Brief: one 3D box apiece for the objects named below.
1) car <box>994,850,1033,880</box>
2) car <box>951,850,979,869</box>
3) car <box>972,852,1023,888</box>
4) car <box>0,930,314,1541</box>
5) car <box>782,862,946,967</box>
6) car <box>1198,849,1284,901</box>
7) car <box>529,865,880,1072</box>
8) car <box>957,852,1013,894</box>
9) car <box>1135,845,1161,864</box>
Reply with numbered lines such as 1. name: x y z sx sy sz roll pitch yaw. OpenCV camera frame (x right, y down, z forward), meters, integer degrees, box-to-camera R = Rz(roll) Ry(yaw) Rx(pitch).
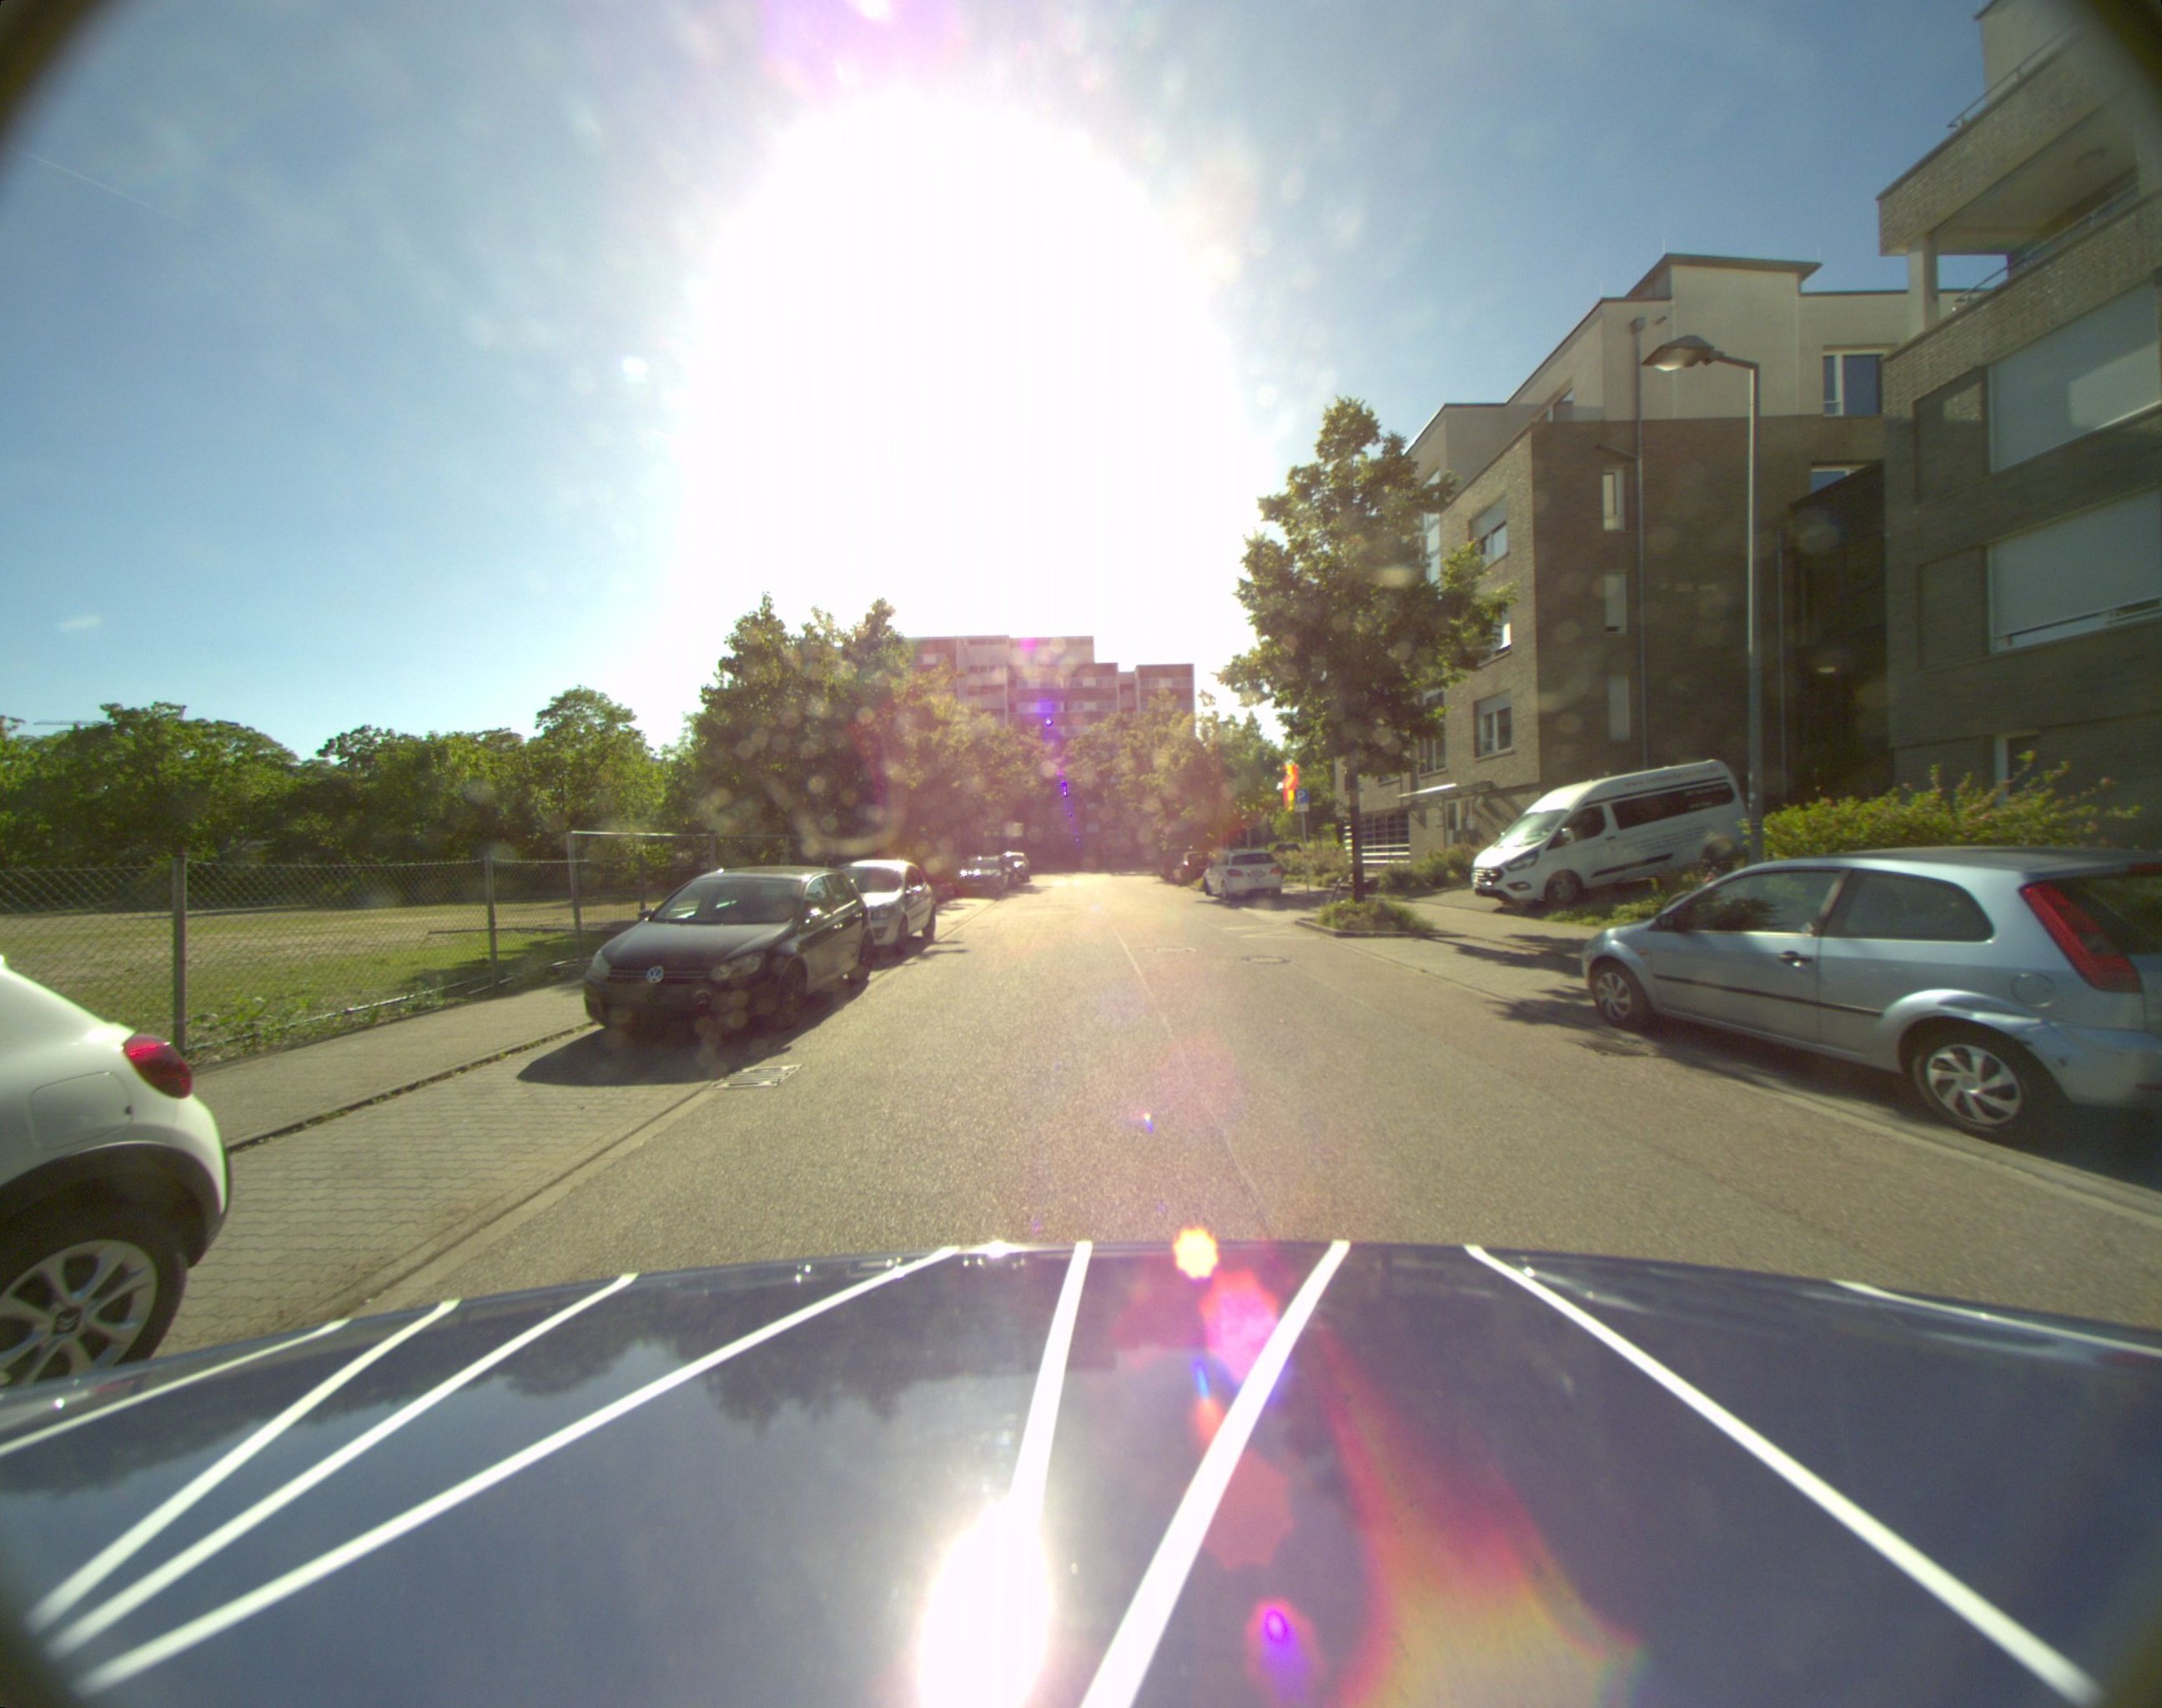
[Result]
1. car: -3.630 0.553 41.548 1.623 1.443 4.089 -2 2 1
2. car: -9.915 0.484 65.305 1.716 1.443 3.999 -1 2 0
3. car: -3.750 0.688 34.824 1.829 1.463 4.068 -2 1 0
4. car: -3.691 1.043 0.877 1.684 1.533 3.849 -2 -1 0
5. car: -3.590 0.929 13.352 1.667 1.504 4.000 -2 0 0
6. car: 5.152 0.631 25.065 1.664 1.523 4.285 -1 0 -4
7. car: -3.532 0.942 8.098 1.692 1.486 4.077 -2 1 -1
8. car: -3.641 0.678 29.581 1.680 1.429 4.438 -2 1 -1
9. car: 5.718 0.019 65.186 1.700 1.491 3.818 -2 2 -3
